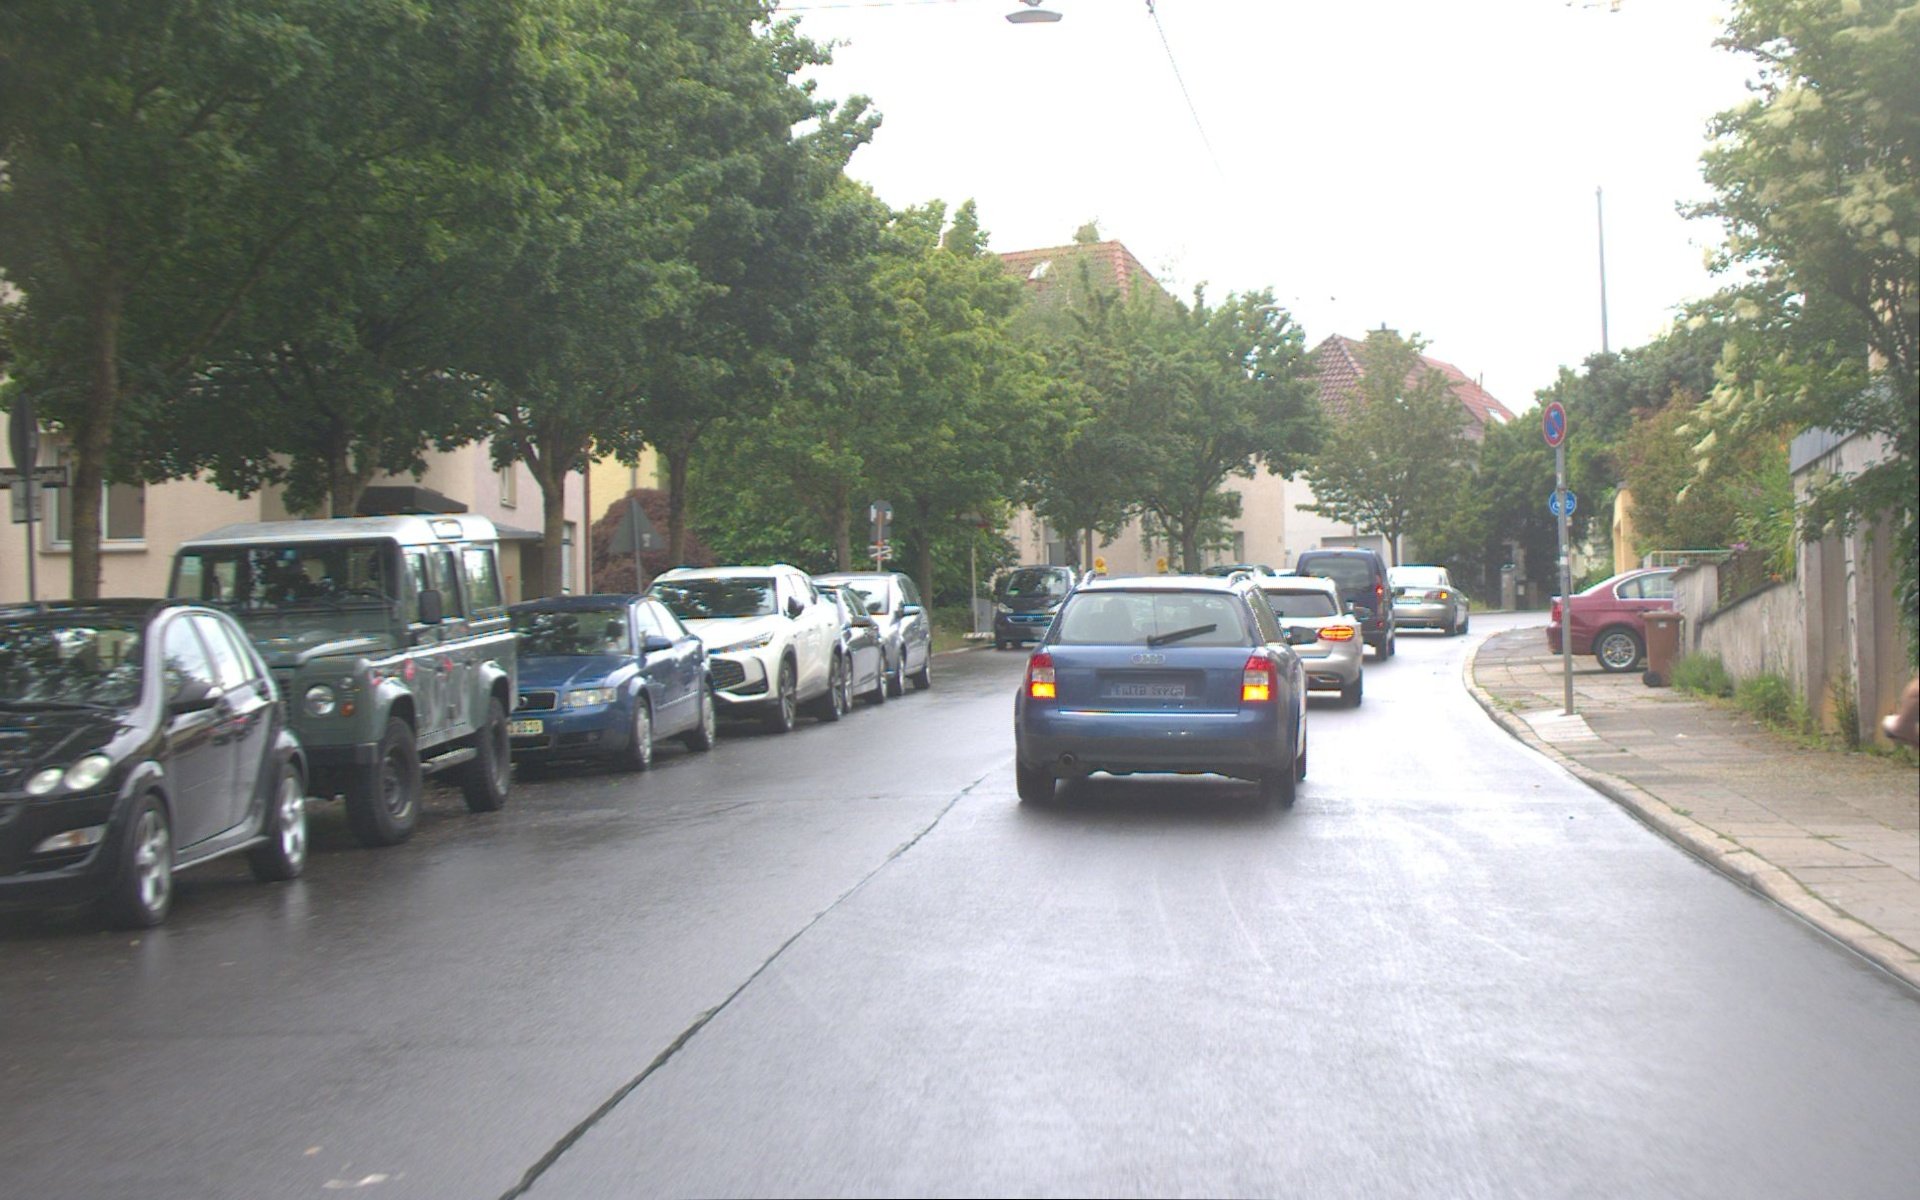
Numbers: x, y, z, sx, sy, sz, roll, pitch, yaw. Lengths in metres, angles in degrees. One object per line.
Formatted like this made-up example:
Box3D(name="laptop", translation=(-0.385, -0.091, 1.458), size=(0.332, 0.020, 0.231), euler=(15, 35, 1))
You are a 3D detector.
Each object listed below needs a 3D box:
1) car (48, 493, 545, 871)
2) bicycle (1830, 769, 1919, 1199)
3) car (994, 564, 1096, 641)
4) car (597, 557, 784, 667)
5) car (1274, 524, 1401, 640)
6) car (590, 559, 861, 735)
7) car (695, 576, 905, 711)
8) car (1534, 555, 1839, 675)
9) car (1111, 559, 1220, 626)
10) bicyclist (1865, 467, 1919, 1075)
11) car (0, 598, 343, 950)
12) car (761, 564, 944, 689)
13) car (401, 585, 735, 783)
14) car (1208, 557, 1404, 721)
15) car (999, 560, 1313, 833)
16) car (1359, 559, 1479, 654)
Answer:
Box3D(name="car", translation=(-4.047, 0.416, 21.857), size=(1.791, 2.043, 4.781), euler=(-3, 1, 4))
Box3D(name="bicycle", translation=(2.694, 0.955, 8.558), size=(0.730, 0.961, 1.670), euler=(1, 1, 4))
Box3D(name="car", translation=(1.628, 0.035, 64.955), size=(1.475, 1.291, 3.219), euler=(2, 2, 9))
Box3D(name="car", translation=(-5.234, 0.223, 66.971), size=(3.211, 1.734, 1.479), euler=(-6, 1, 9))
Box3D(name="car", translation=(6.359, -0.335, 57.607), size=(1.734, 1.762, 4.233), euler=(2, 2, 11))
Box3D(name="car", translation=(-2.309, 0.448, 35.106), size=(1.769, 1.621, 4.688), euler=(-2, 0, 8))
Box3D(name="car", translation=(-1.832, 0.483, 40.504), size=(1.768, 1.468, 4.006), euler=(-2, 0, 7))
Box3D(name="car", translation=(9.983, 0.196, 47.379), size=(3.989, 1.461, 1.738), euler=(-2, 1, 11))
Box3D(name="car", translation=(5.022, -0.203, 83.629), size=(1.735, 1.461, 3.997), euler=(2, 2, 16))
Box3D(name="bicyclist", translation=(2.696, 0.411, 8.515), size=(0.725, 1.467, 0.886), euler=(0, 0, 4))
Box3D(name="car", translation=(-4.399, 0.754, 16.675), size=(1.768, 1.431, 4.347), euler=(-2, 0, 3))
Box3D(name="car", translation=(-1.376, 0.335, 45.684), size=(1.768, 1.534, 4.006), euler=(-2, 0, 7))
Box3D(name="car", translation=(-3.216, 0.649, 29.123), size=(1.768, 1.382, 4.633), euler=(-2, 1, 7))
Box3D(name="car", translation=(4.075, 0.401, 39.928), size=(1.976, 1.629, 4.234), euler=(2, 2, 9))
Box3D(name="car", translation=(1.356, 0.545, 22.339), size=(1.734, 1.461, 3.999), euler=(2, 2, 7))
Box3D(name="car", translation=(9.571, 0.103, 71.392), size=(1.735, 1.762, 4.232), euler=(2, 2, 17))
